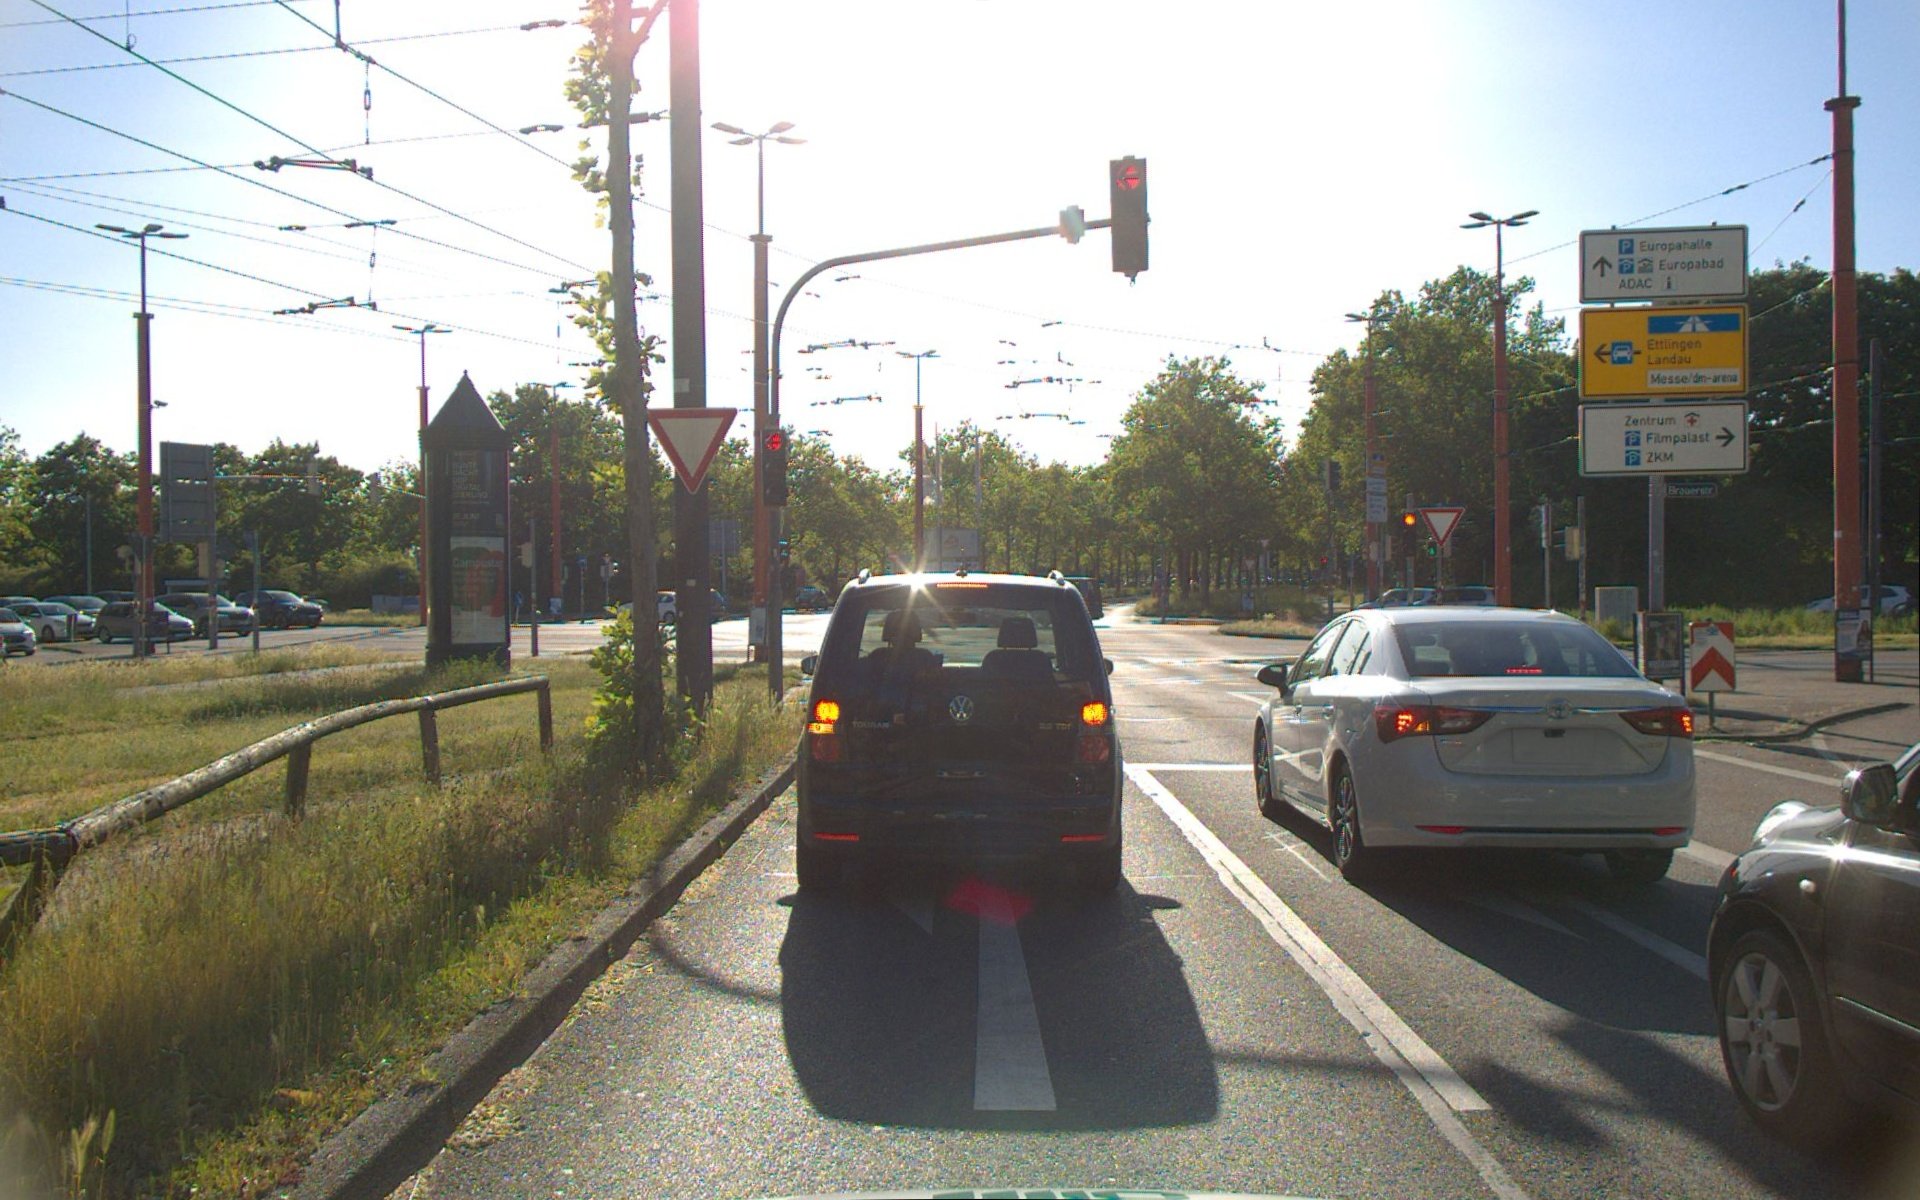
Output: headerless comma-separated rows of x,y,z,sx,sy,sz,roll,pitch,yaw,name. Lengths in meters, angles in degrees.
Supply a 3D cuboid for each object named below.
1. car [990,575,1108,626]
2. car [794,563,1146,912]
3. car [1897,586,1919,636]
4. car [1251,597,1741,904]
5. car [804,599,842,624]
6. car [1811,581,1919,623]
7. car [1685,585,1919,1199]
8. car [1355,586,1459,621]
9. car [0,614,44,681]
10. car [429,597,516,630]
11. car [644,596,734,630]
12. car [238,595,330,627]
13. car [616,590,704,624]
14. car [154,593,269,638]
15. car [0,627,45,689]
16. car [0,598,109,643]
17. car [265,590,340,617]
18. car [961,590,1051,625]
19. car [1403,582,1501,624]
3.692,0.014,68.589,4.478,2.049,1.999,0,0,24,car
0.015,0.643,9.808,1.666,1.650,3.896,0,0,-1,car
32.963,0.344,53.929,3.942,1.624,2.000,0,0,23,car
2.977,0.729,10.144,1.685,1.463,4.198,1,0,1,car
-9.600,0.805,116.065,1.874,1.664,4.003,1,0,6,car
31.742,0.064,57.915,3.368,1.392,1.289,1,0,26,car
3.182,0.742,3.578,1.620,1.526,3.614,1,0,0,car
17.640,0.143,65.323,3.752,1.286,1.602,1,0,25,car
-21.660,1.043,36.117,1.762,1.415,2.848,0,0,-1,car
-24.355,0.653,82.603,4.039,1.626,1.827,0,0,27,car
-13.326,0.627,81.309,4.039,1.672,1.851,0,0,26,car
-29.271,0.476,71.596,3.913,1.353,1.694,0,0,31,car
-13.906,0.311,76.602,3.743,1.549,1.694,0,0,25,car
-28.992,0.575,64.091,3.907,1.673,1.999,0,0,24,car
-30.056,1.769,51.356,1.982,1.761,4.774,0,0,-41,car
-34.716,0.756,63.109,4.091,1.640,1.867,0,0,25,car
-37.087,0.203,93.307,3.884,1.466,1.686,1,0,24,car
2.041,0.321,73.300,3.662,1.499,1.599,0,0,26,car
18.130,0.106,60.977,3.326,1.483,1.464,0,0,24,car
